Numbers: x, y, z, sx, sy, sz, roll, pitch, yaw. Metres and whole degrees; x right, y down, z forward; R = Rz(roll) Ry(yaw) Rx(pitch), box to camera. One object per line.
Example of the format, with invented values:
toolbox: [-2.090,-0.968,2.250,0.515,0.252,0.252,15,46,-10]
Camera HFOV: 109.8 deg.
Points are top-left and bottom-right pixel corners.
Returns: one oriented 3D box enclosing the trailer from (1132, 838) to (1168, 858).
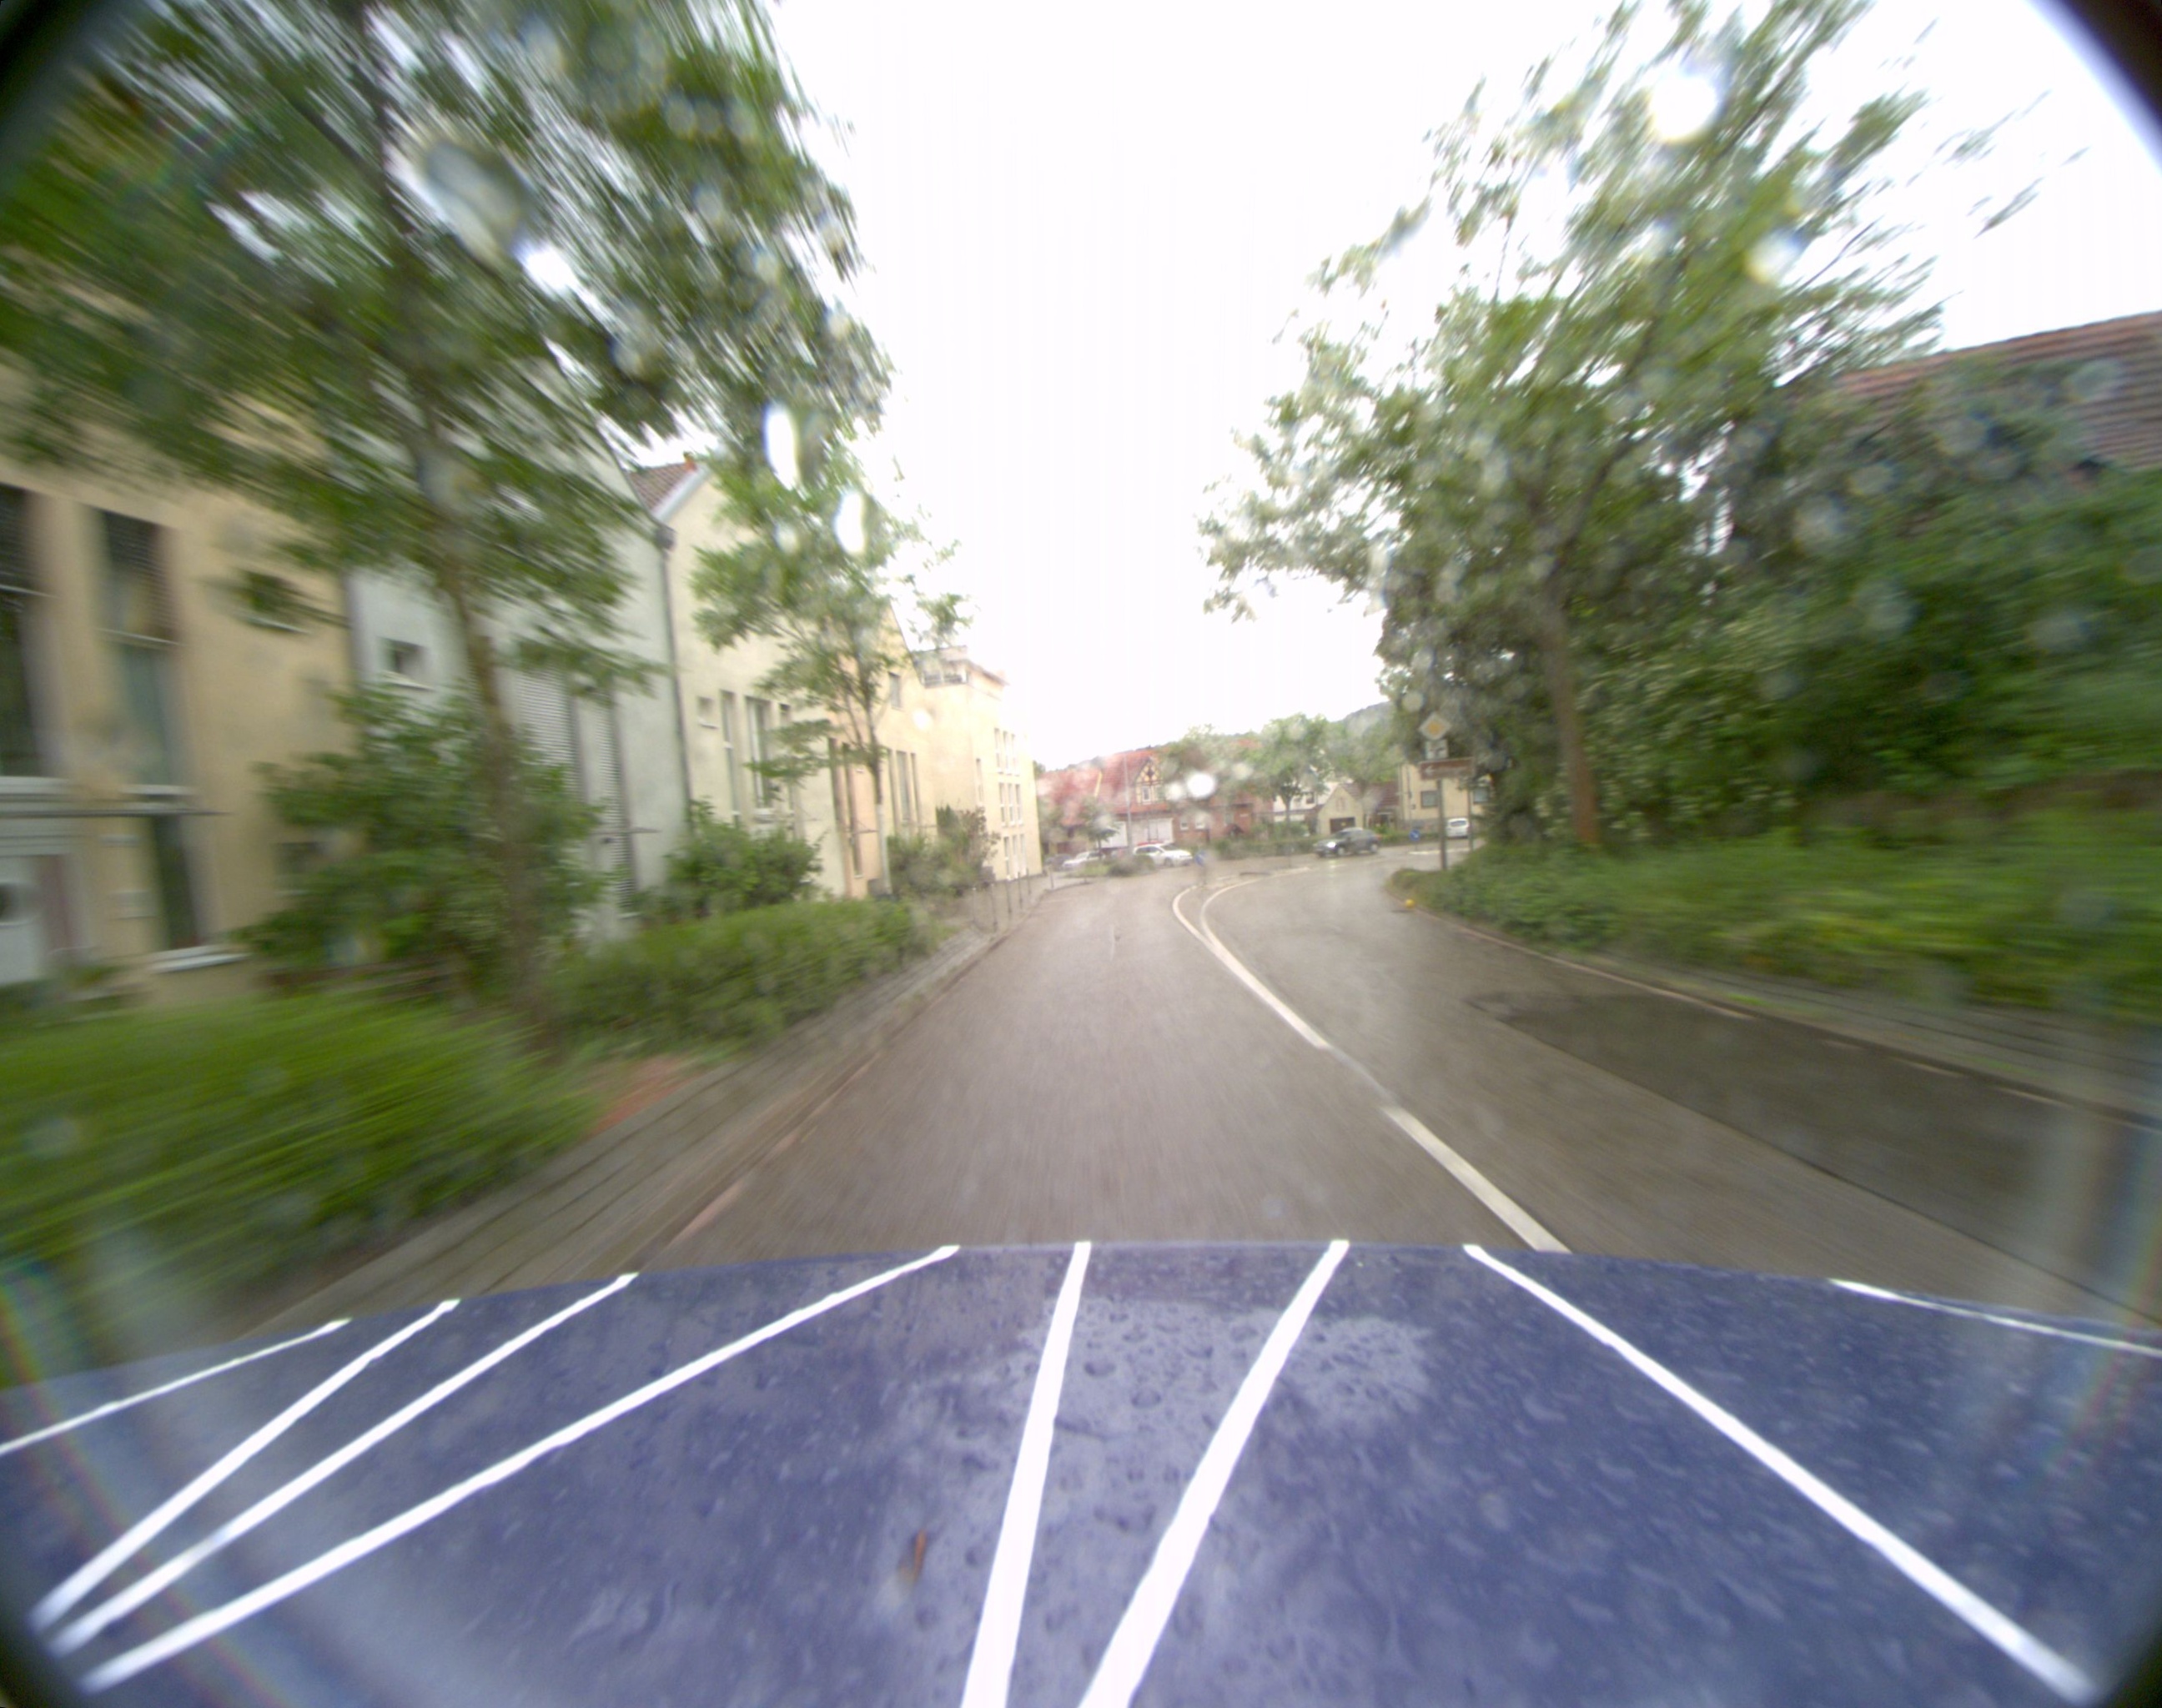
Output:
trailer: [6.194,-0.537,68.084,2.718,1.640,1.414,-4,1,30]

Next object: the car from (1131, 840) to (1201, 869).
car: [5.313,0.029,47.858,1.760,1.527,4.139,-7,2,-43]

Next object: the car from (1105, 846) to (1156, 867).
car: [4.000,0.195,61.583,3.738,1.382,1.620,-6,2,-29]

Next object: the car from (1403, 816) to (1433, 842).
car: [26.338,-2.004,59.451,1.745,1.574,4.002,-5,4,20]

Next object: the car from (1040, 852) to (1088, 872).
car: [-1.451,0.698,66.266,1.875,1.368,4.007,-3,1,40]

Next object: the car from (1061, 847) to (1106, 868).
car: [0.244,0.277,64.167,1.619,1.382,4.006,-3,2,38]

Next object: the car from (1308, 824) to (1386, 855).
car: [16.083,-0.867,45.997,4.002,1.521,1.997,-5,2,-18]

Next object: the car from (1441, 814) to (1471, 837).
car: [28.622,-2.177,58.073,1.715,1.521,3.435,-4,2,22]

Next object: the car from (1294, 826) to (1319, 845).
car: [21.081,-1.758,70.985,1.598,1.488,4.005,-4,1,25]

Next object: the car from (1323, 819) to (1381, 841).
car: [22.341,-1.998,62.582,4.255,1.431,1.910,-4,4,26]
